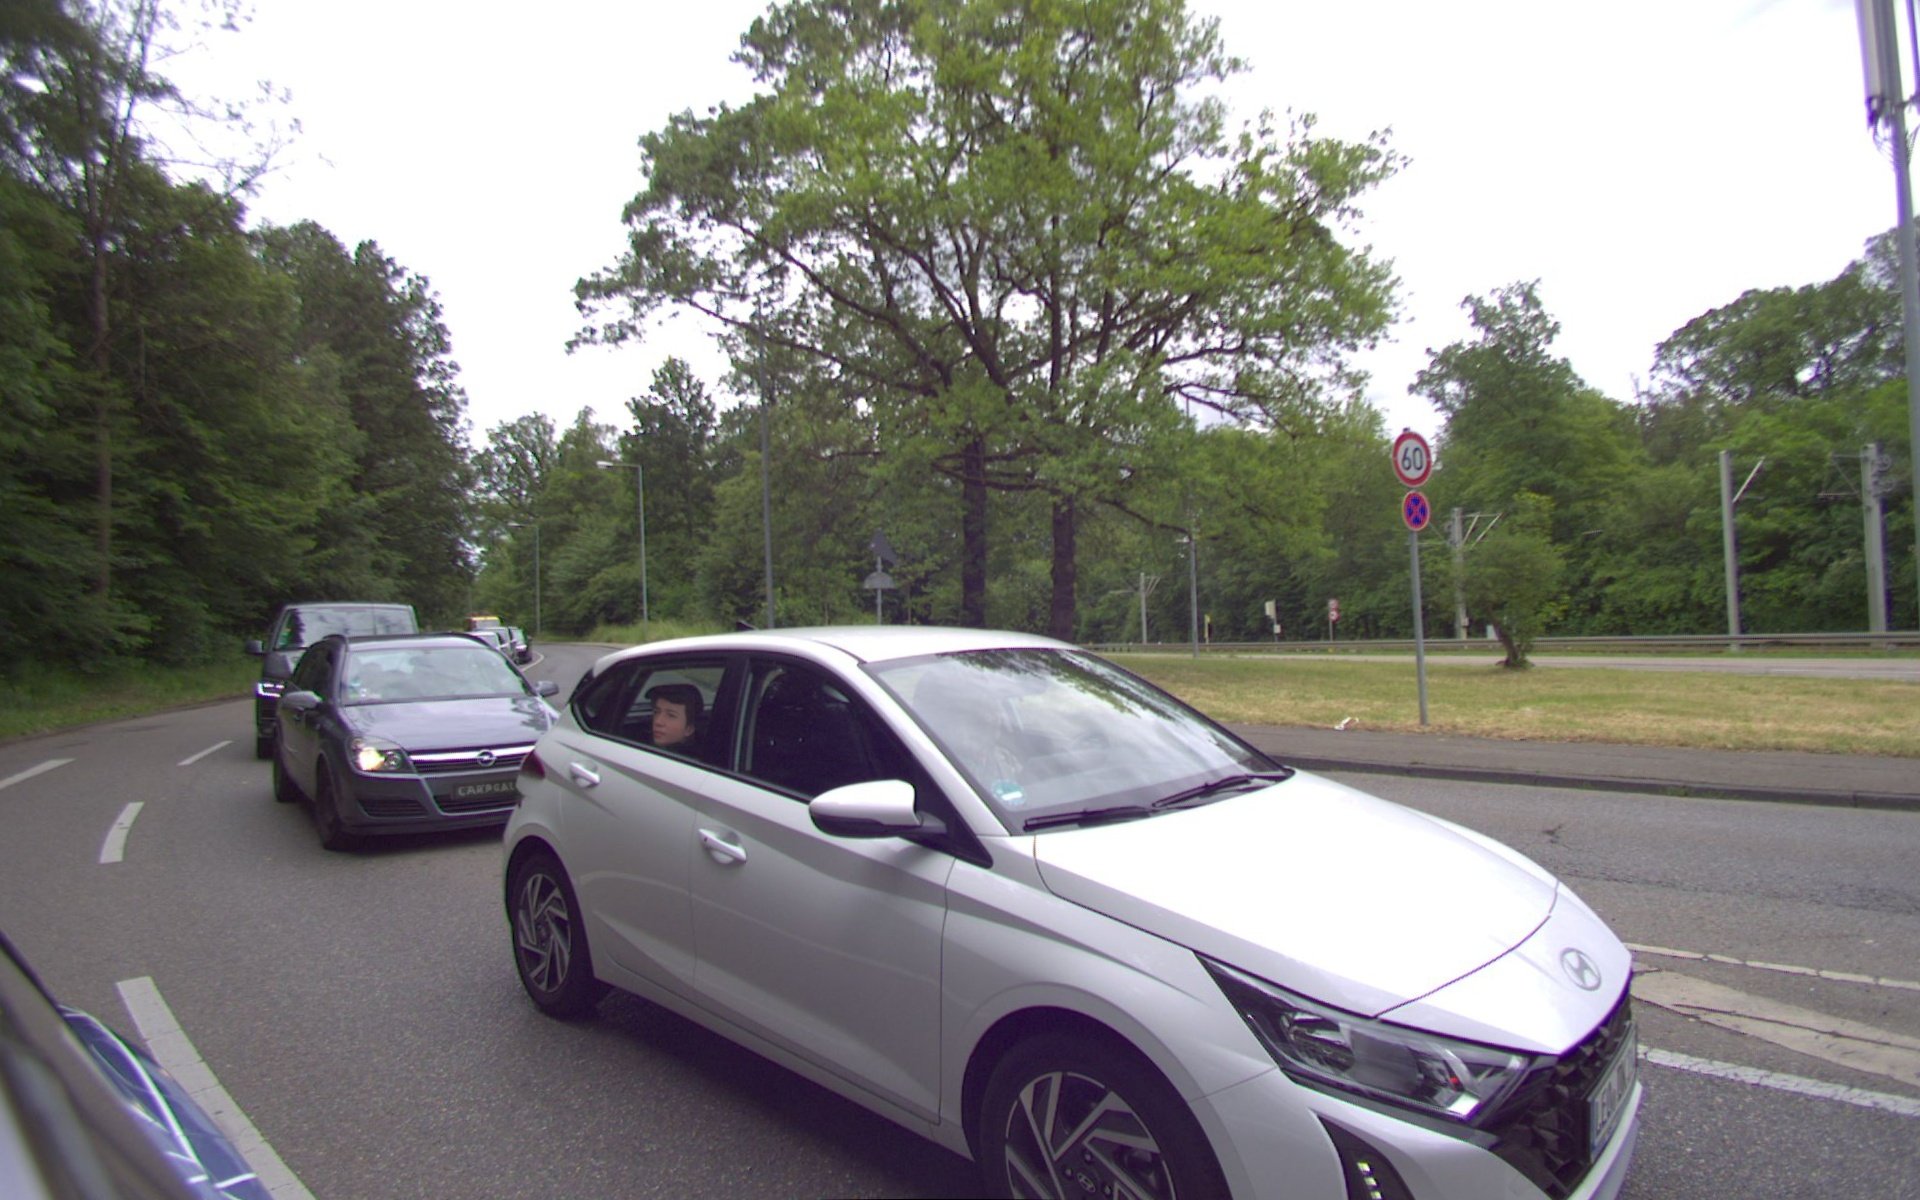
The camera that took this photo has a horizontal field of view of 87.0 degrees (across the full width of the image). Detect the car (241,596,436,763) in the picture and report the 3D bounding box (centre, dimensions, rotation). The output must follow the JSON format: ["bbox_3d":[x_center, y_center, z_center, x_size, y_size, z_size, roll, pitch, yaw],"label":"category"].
[{"bbox_3d":[-8.414,0.980,13.964,1.957,1.887,4.545,0,-2,-29],"label":"car"}]

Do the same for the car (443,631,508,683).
[{"bbox_3d":[-15.402,1.773,32.238,1.748,1.511,3.885,0,-2,-25],"label":"car"}]

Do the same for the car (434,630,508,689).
[{"bbox_3d":[-13.677,1.625,28.421,1.748,1.511,3.885,0,-2,-25],"label":"car"}]

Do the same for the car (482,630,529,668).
[{"bbox_3d":[-19.394,2.061,43.142,1.748,1.511,3.885,0,-2,-25],"label":"car"}]

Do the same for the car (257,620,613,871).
[{"bbox_3d":[-4.573,0.967,8.409,1.775,1.490,4.478,0,-2,-39],"label":"car"}]

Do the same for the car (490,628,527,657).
[{"bbox_3d":[-25.402,2.378,56.964,1.749,1.511,3.885,-1,-2,-22],"label":"car"}]

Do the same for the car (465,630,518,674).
[{"bbox_3d":[-17.688,1.930,38.221,1.748,1.511,3.885,0,-2,-25],"label":"car"}]

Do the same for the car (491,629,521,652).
[{"bbox_3d":[-31.836,2.850,70.989,1.749,1.511,3.885,-1,-2,-22],"label":"car"}]

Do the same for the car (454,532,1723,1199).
[{"bbox_3d":[-0.078,0.724,3.430,4.073,1.490,1.631,-3,-2,43],"label":"car"}]
